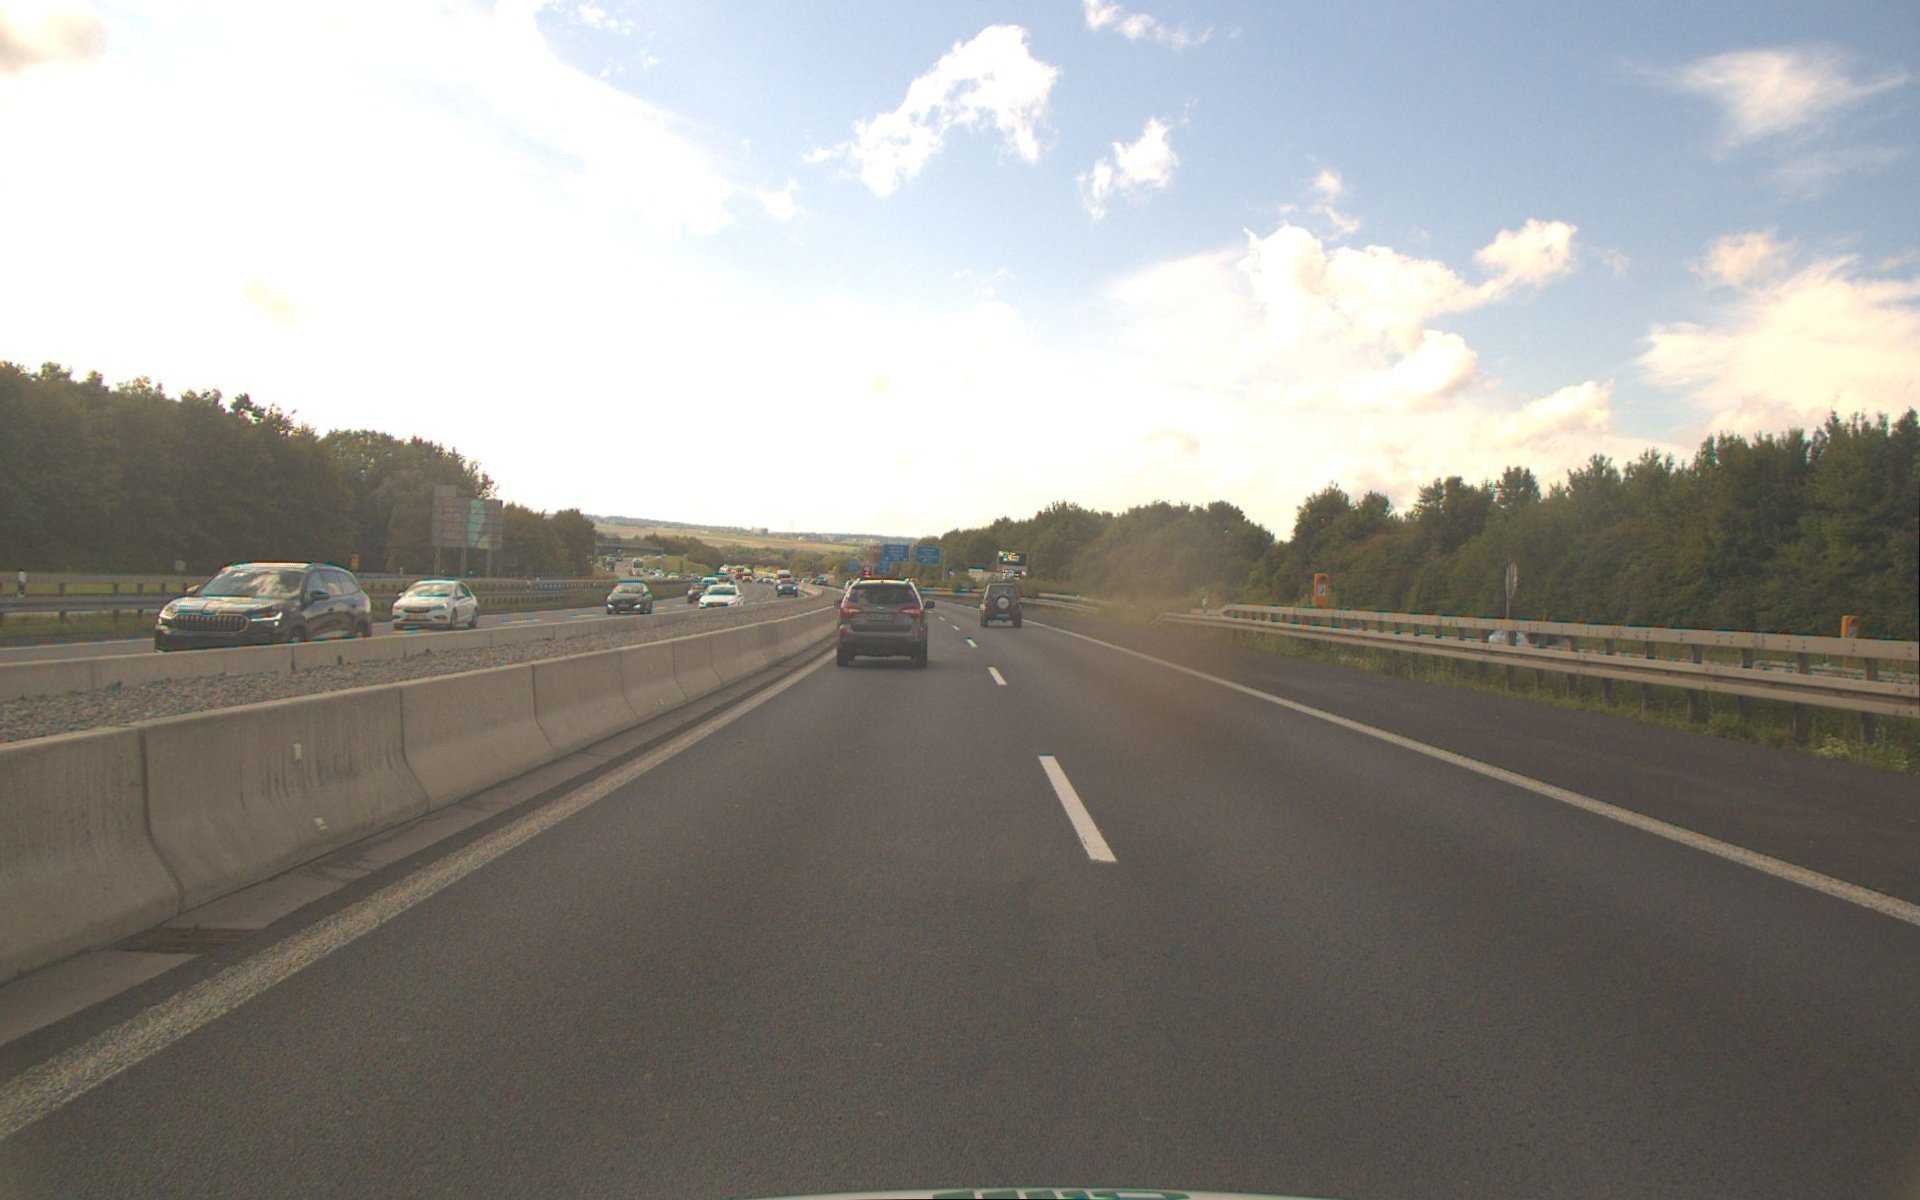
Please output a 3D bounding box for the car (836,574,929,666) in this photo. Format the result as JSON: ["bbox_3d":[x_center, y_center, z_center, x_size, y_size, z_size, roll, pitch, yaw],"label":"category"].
[{"bbox_3d":[-1.575,0.400,34.702,1.781,1.766,5.184,1,0,-2],"label":"car"}]

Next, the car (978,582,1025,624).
[{"bbox_3d":[1.668,0.088,67.298,1.555,1.625,4.093,1,0,-3],"label":"car"}]

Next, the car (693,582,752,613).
[{"bbox_3d":[-10.849,-0.124,75.876,2.004,1.361,5.606,1,0,-2],"label":"car"}]

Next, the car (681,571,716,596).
[{"bbox_3d":[-18.865,-1.167,119.296,1.953,1.721,4.371,1,0,-2],"label":"car"}]

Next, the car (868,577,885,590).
[{"bbox_3d":[-12.607,-2.488,250.063,1.958,1.963,3.989,1,-1,-11],"label":"car"}]

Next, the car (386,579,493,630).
[{"bbox_3d":[-15.834,0.107,50.543,1.847,1.454,4.577,1,0,-1],"label":"car"}]

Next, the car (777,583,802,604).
[{"bbox_3d":[-16.617,-0.646,161.323,1.953,1.953,5.147,2,0,-2],"label":"car"}]

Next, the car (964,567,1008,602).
[{"bbox_3d":[3.520,-2.093,226.403,4.638,4.341,11.387,1,-1,-6],"label":"car"}]

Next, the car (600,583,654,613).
[{"bbox_3d":[-15.859,-0.107,78.922,1.831,1.361,4.228,1,0,-2],"label":"car"}]

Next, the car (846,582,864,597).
[{"bbox_3d":[-12.970,-1.314,204.301,1.956,1.713,3.993,1,-1,-7],"label":"car"}]

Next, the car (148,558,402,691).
[{"bbox_3d":[-10.277,0.326,25.273,1.847,1.816,4.952,1,0,-1],"label":"car"}]

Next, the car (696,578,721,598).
[{"bbox_3d":[-23.517,-1.119,154.642,1.954,1.846,4.237,1,0,-4],"label":"car"}]

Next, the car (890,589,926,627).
[{"bbox_3d":[-3.059,0.443,97.222,1.989,2.189,4.000,1,0,-1],"label":"car"}]
